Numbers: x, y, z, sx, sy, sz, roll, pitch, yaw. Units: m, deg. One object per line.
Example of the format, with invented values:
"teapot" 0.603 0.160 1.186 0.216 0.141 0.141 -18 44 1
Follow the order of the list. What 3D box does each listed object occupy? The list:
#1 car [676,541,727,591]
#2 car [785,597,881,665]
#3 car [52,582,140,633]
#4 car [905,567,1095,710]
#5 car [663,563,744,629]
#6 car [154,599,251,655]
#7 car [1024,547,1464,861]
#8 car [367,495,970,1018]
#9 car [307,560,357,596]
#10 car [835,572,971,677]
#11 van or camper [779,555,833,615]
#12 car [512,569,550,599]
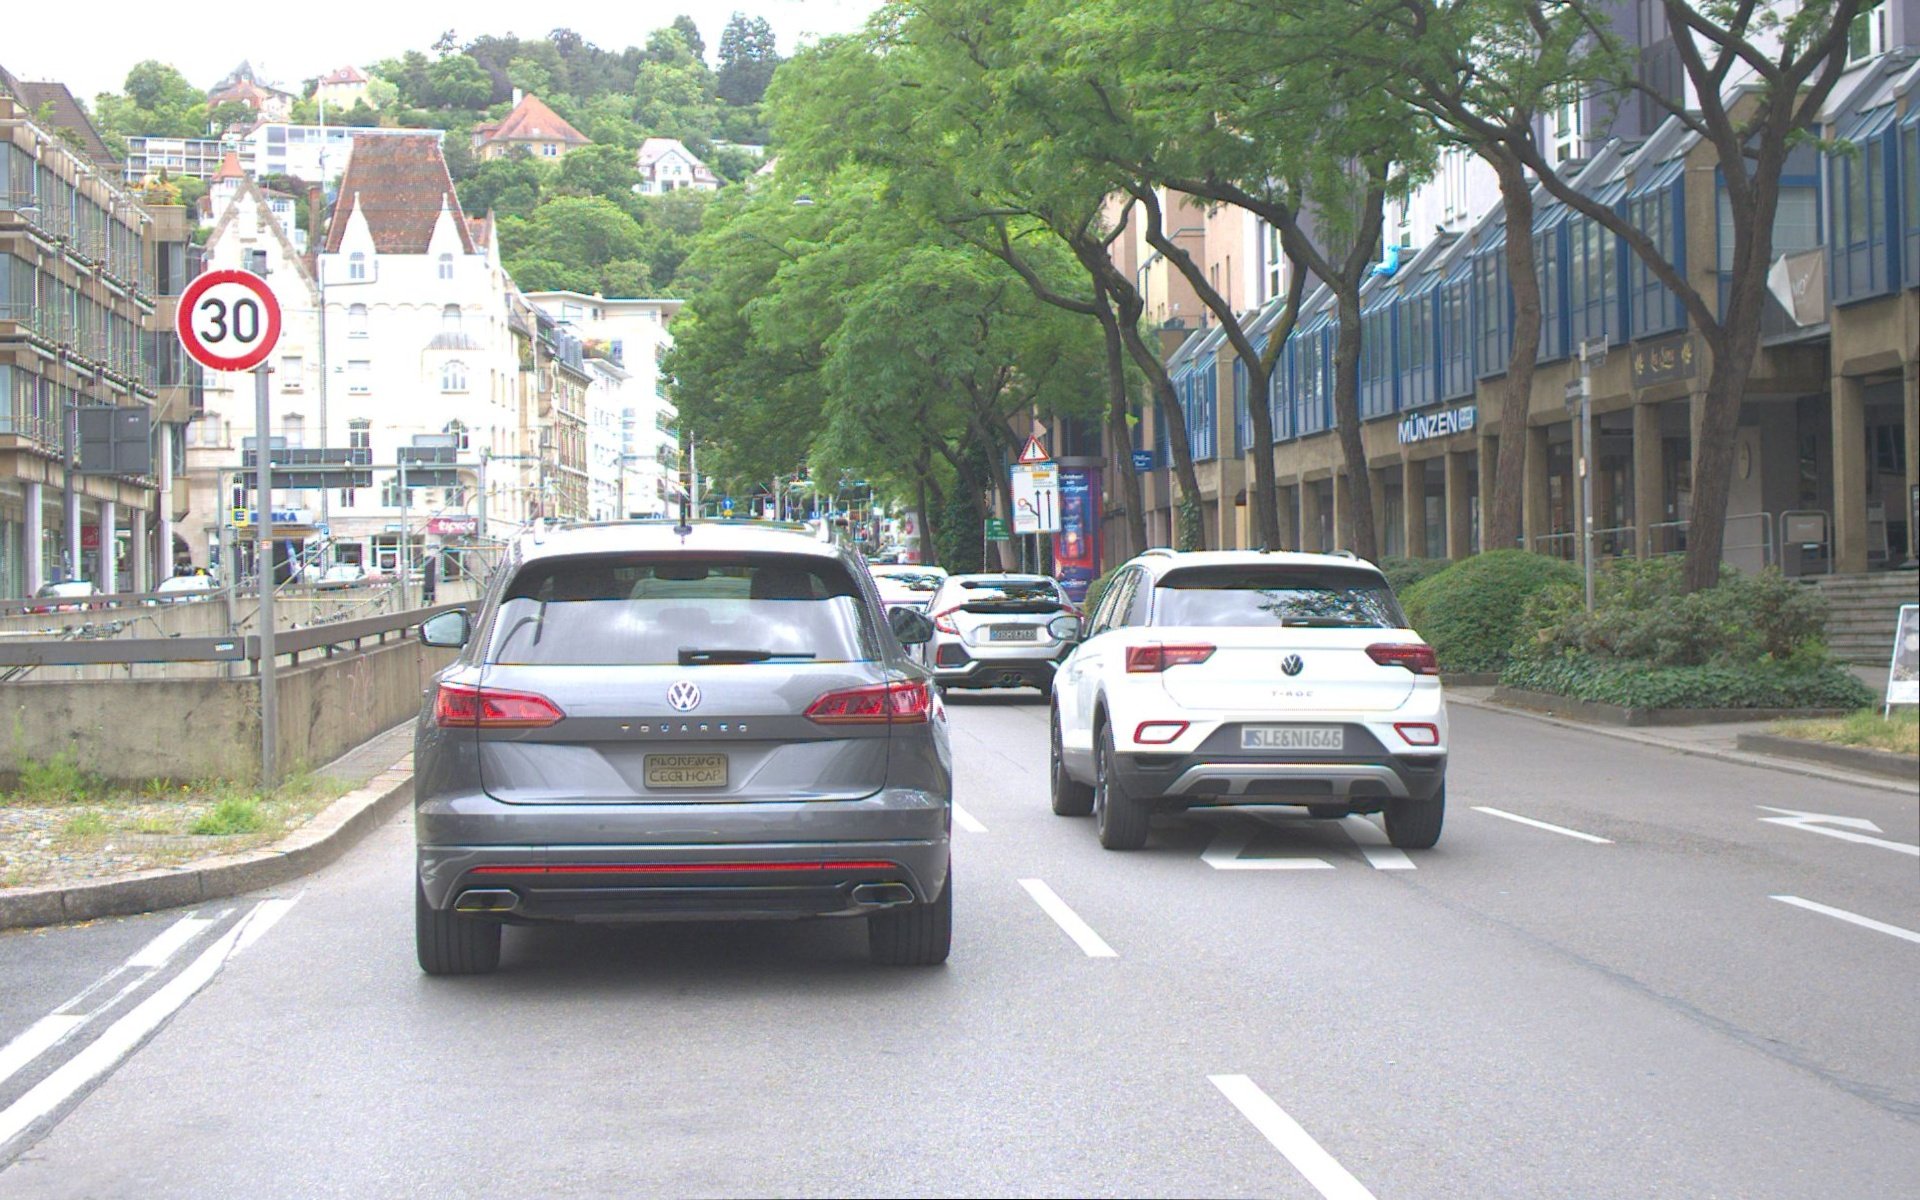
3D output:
"car" -10.238 -1.336 136.201 1.832 1.868 4.871 -2 0 -3
"car" -2.721 0.650 74.393 1.832 1.358 3.767 -2 0 1
"car" -25.860 0.208 103.048 1.993 1.459 4.887 -1 1 -7
"car" 0.395 0.386 38.571 1.833 1.427 4.148 0 2 -4
"car" -6.464 -0.105 86.285 1.831 1.561 3.768 -2 0 -7
"car" -22.965 0.800 104.450 1.993 1.580 4.888 -1 1 -2
"car" 1.450 0.542 19.022 1.797 1.540 3.936 0 -1 -5
"car" -1.116 0.501 13.699 1.970 1.690 4.225 -2 1 -4
"car" -31.515 -1.092 172.523 1.993 1.762 4.281 -1 1 -4
"car" -0.902 0.347 52.551 1.832 1.512 3.768 -1 0 -4
"van or camper" -8.393 -0.832 187.319 2.627 3.168 5.804 -1 1 -5
"car" -25.242 -0.948 202.450 1.993 1.762 4.281 -1 1 -4
